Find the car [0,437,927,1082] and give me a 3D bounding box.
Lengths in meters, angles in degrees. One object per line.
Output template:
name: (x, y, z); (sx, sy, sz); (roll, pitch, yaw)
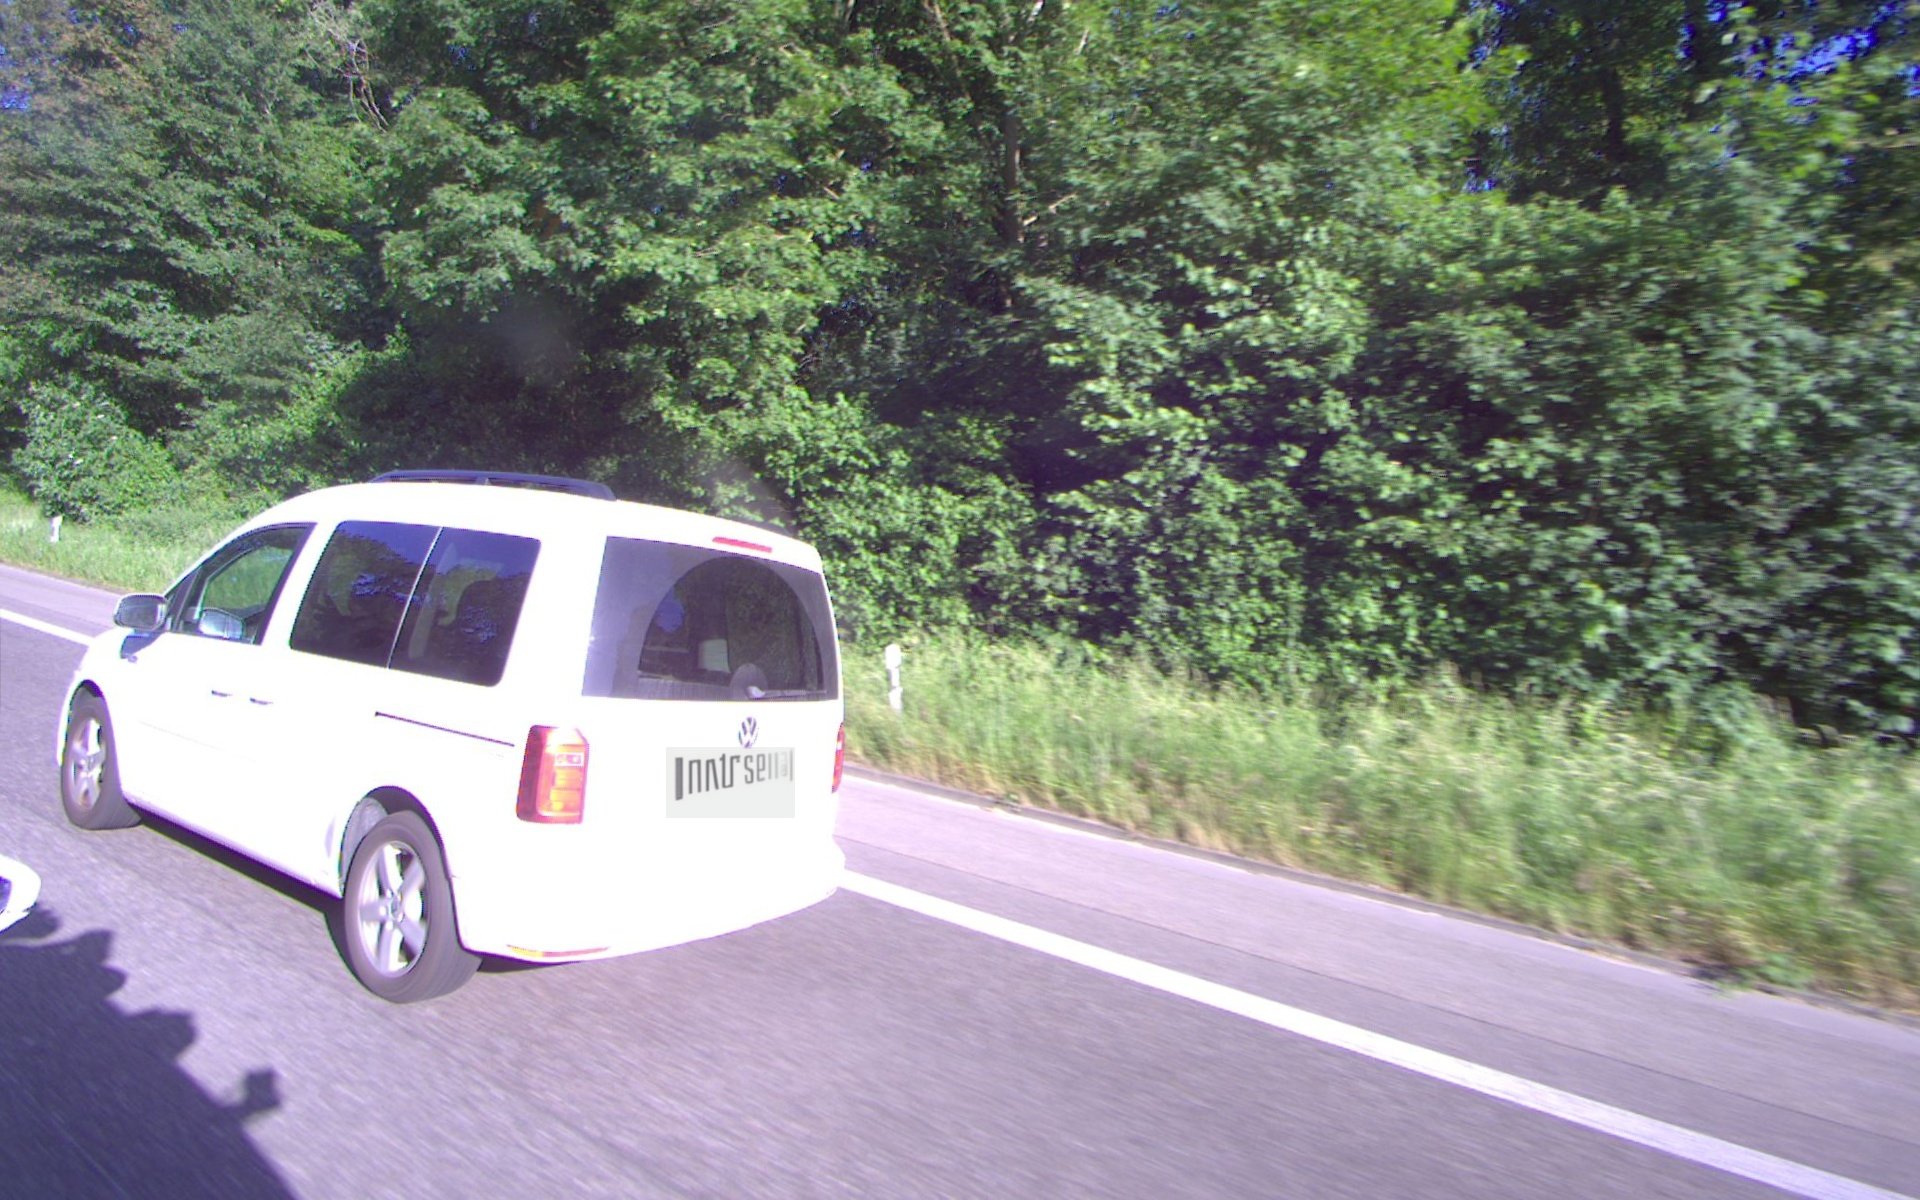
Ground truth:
car: (-2.624, 0.358, 4.857); (4.511, 1.834, 1.802); (6, -2, 31)
